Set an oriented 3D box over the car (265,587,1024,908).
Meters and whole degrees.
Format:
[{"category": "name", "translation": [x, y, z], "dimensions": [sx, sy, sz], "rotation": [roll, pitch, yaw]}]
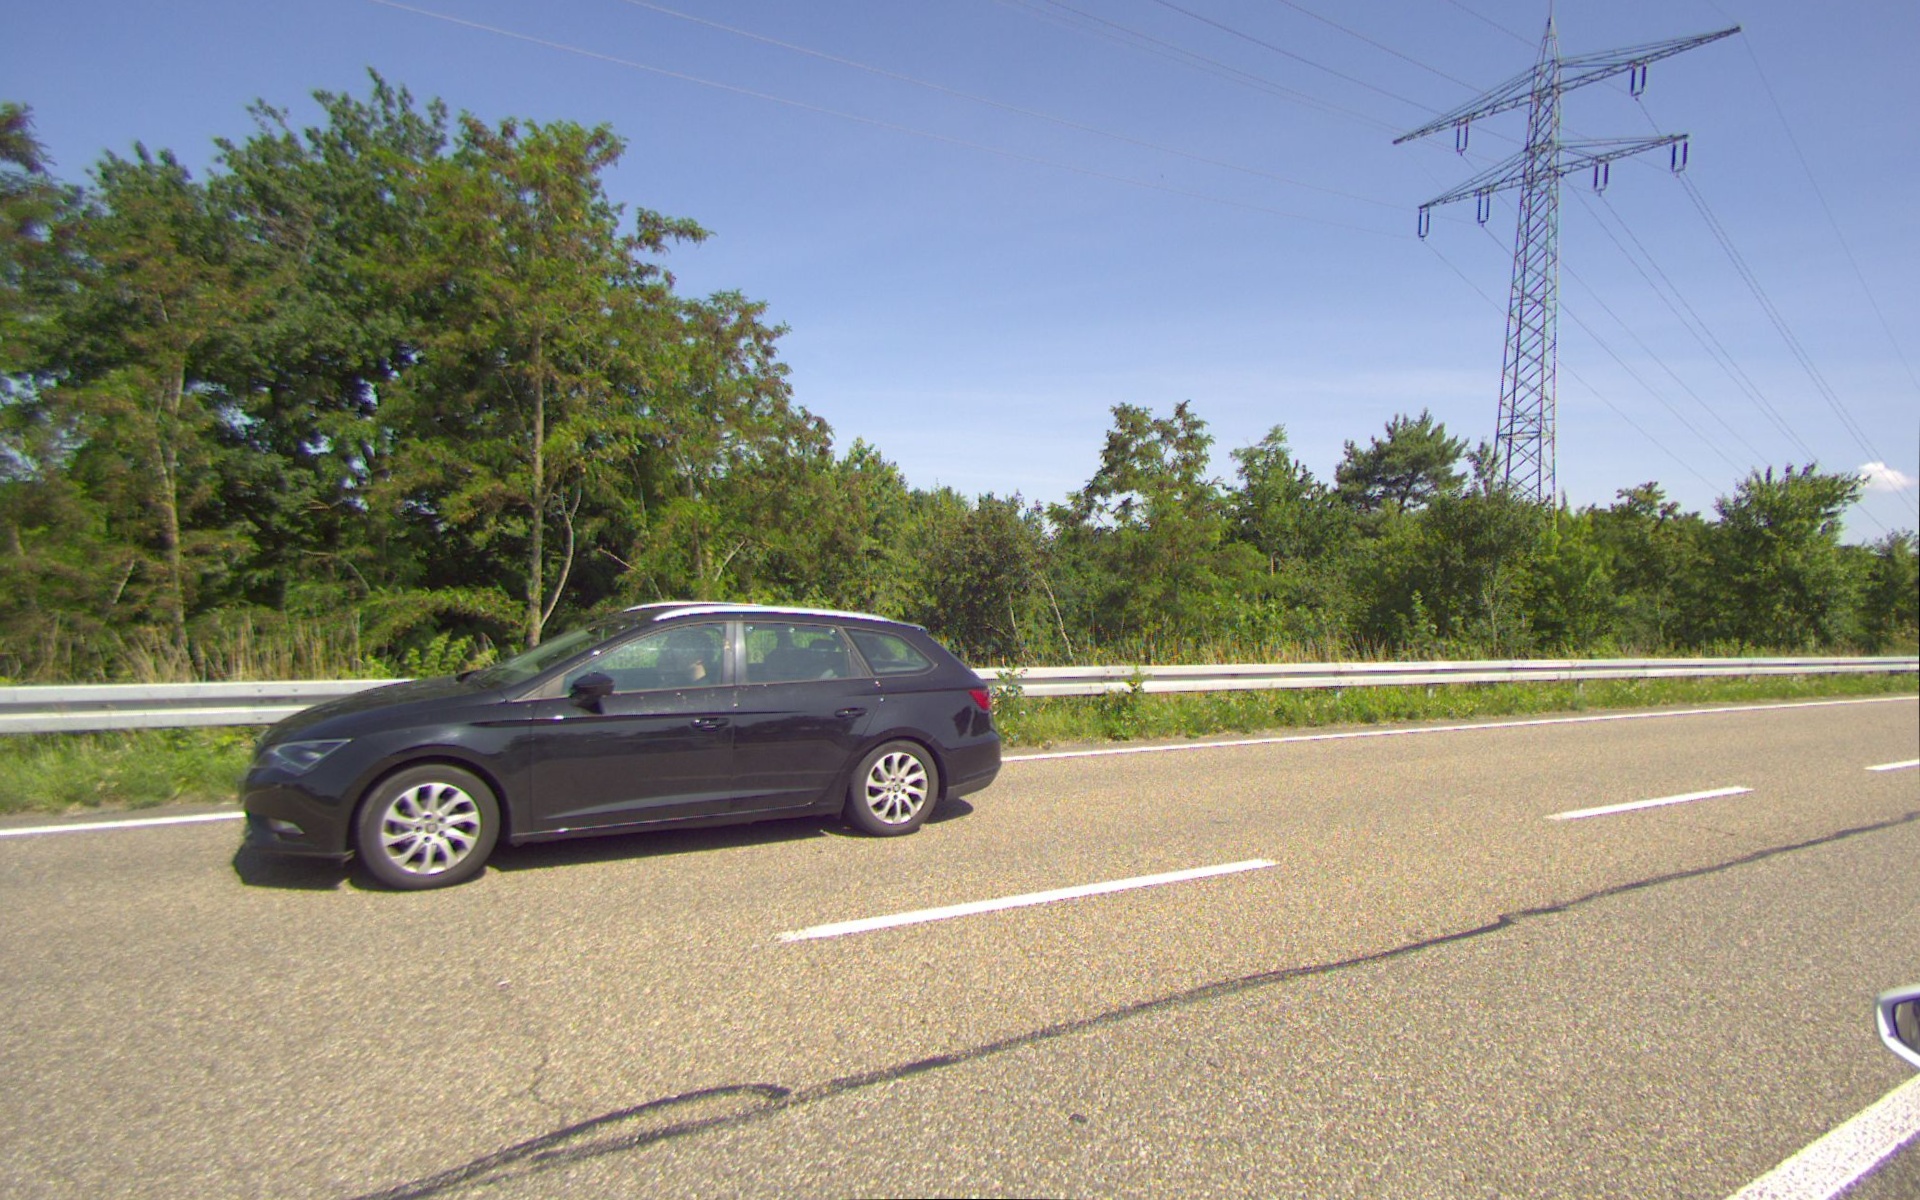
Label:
[{"category": "car", "translation": [-1.780, 0.702, 6.358], "dimensions": [4.166, 1.461, 1.651], "rotation": [1, 0, -31]}]
